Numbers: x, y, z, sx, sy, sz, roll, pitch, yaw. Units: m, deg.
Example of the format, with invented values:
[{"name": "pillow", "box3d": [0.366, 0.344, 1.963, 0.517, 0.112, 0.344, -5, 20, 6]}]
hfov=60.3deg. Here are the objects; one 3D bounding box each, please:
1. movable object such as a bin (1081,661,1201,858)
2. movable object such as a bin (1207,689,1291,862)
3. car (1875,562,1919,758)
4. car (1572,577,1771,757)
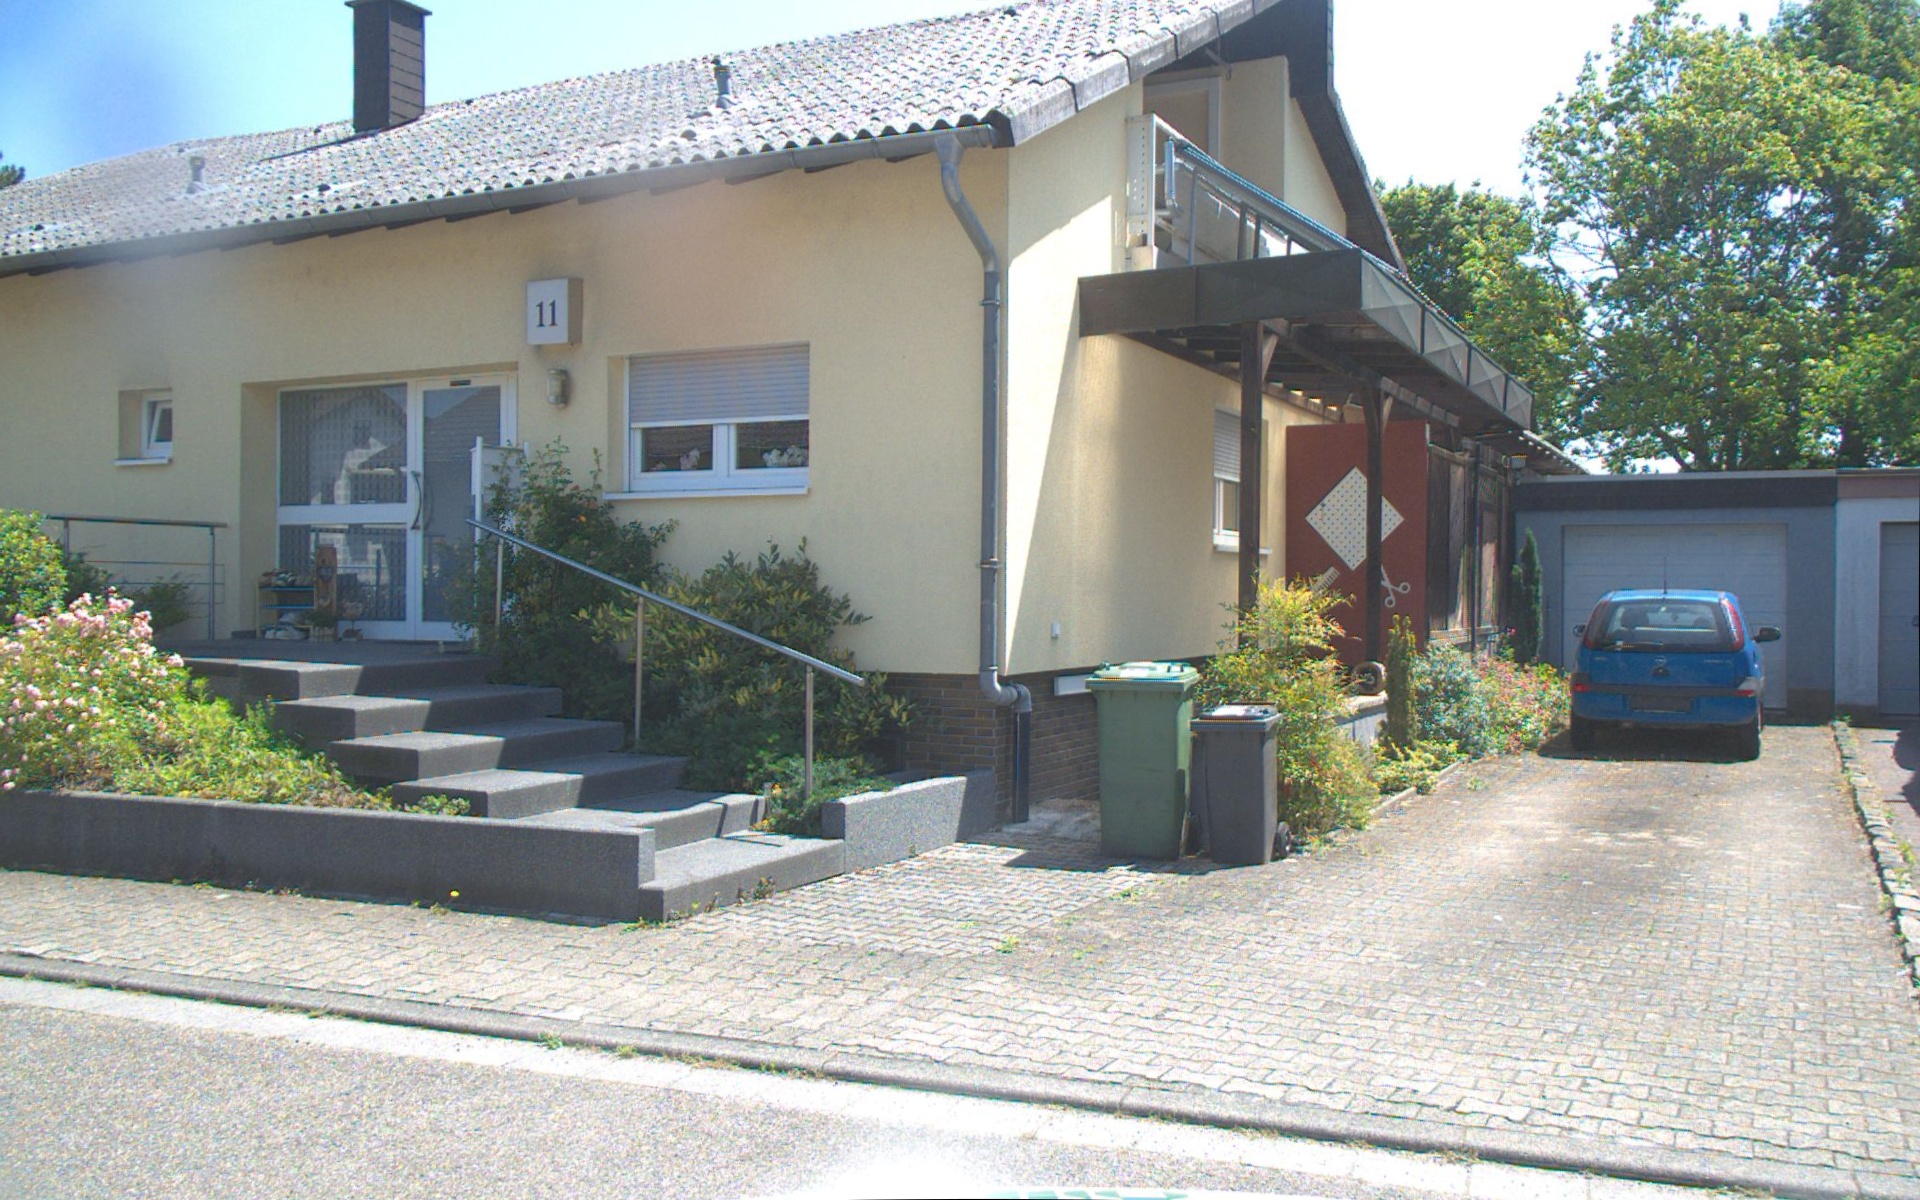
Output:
[{"name": "movable object such as a bin", "box3d": [1.039, 0.892, 9.449, 0.578, 1.059, 0.492, -1, 0, 19]}, {"name": "movable object such as a bin", "box3d": [1.612, 0.965, 9.205, 0.398, 0.907, 0.426, -1, 0, 19]}, {"name": "car", "box3d": [9.619, 0.462, 15.271, 1.885, 1.636, 3.996, 0, 1, 27]}, {"name": "car", "box3d": [6.914, 0.551, 15.923, 1.583, 1.480, 3.251, 1, 2, 27]}]
